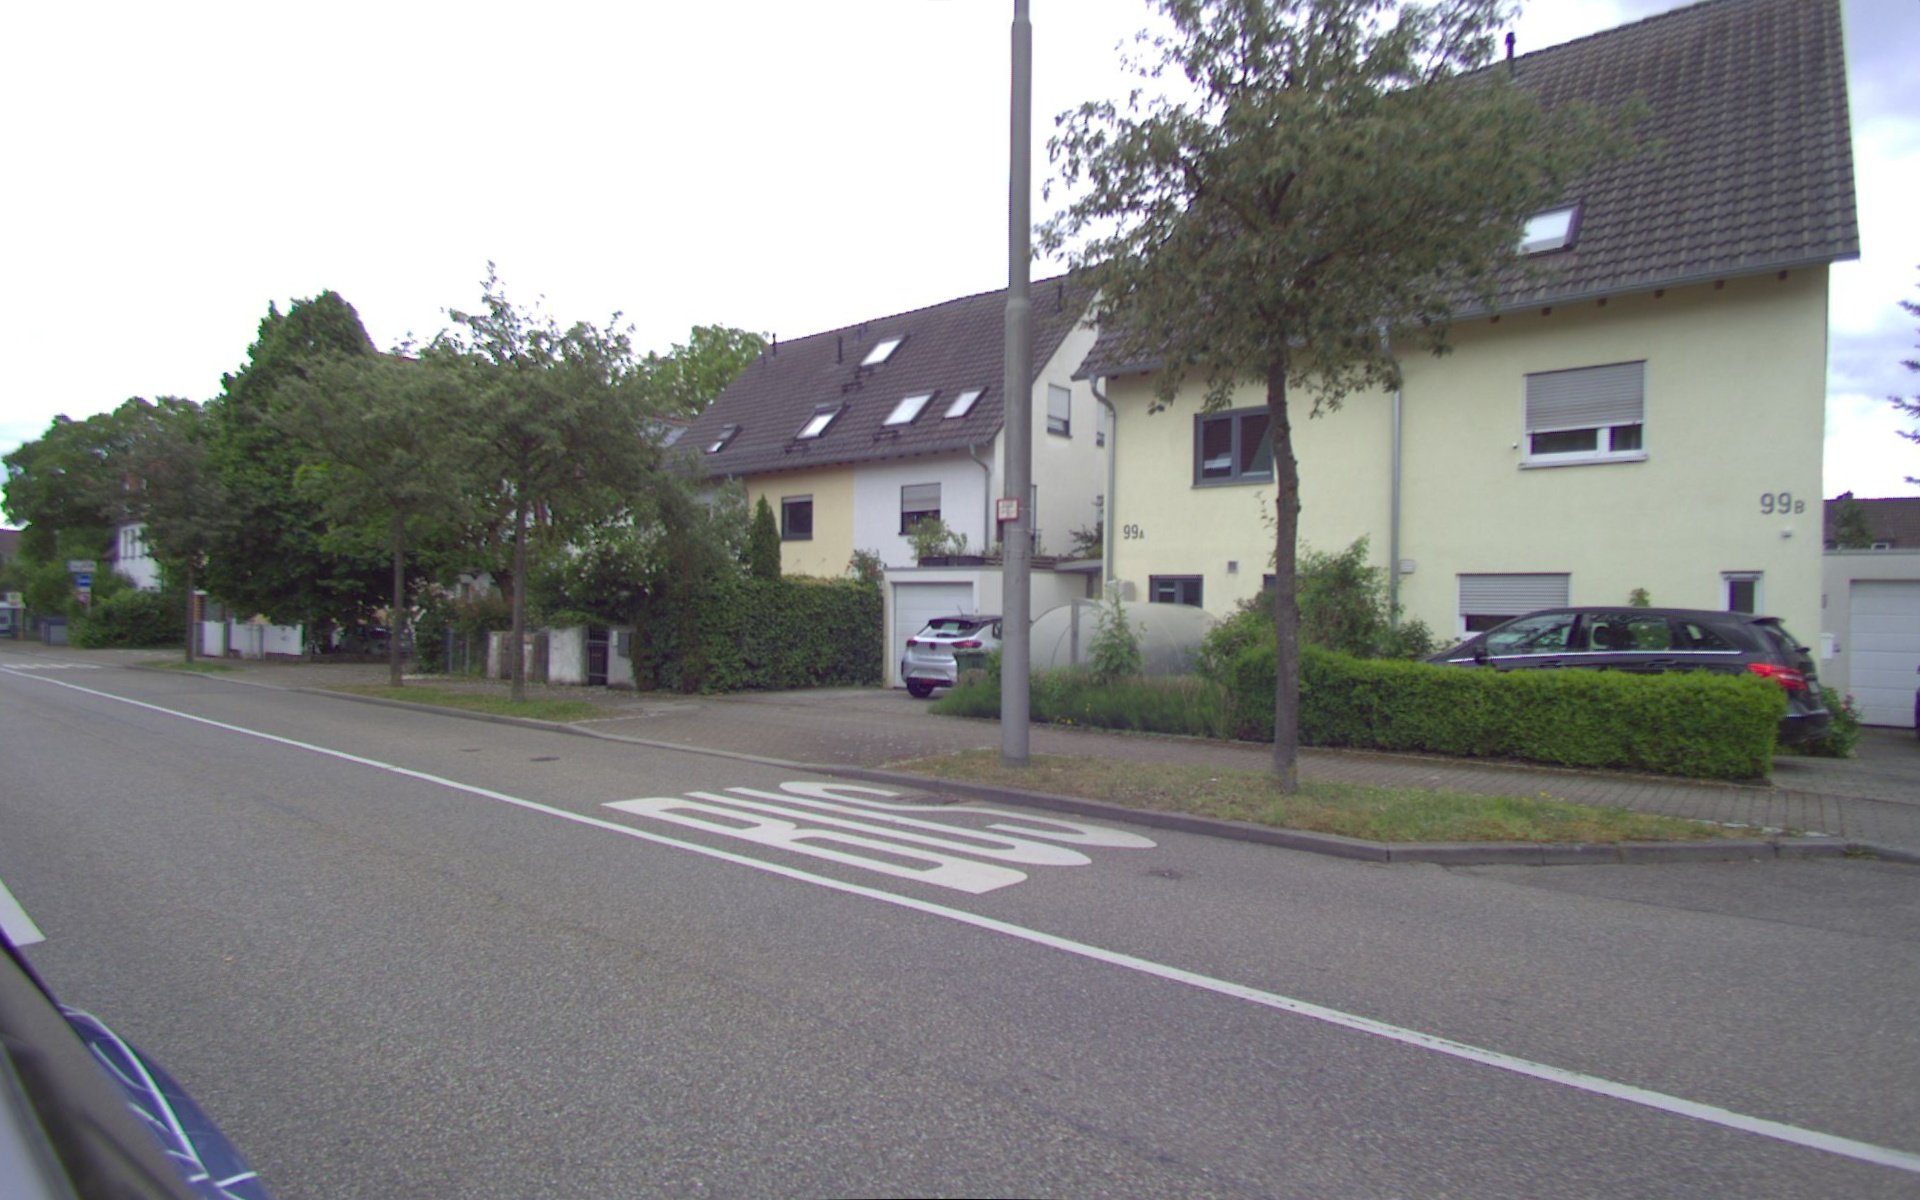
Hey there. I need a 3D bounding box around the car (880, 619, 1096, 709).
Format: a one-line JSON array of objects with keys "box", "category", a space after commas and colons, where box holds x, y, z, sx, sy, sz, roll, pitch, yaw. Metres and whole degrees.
[{"box": [0.603, 1.048, 17.986, 1.754, 1.296, 4.026, -1, 0, 39], "category": "car"}]

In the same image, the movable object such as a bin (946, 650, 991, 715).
[{"box": [0.118, 1.202, 14.798, 0.569, 0.908, 0.547, 0, -1, -8], "category": "movable object such as a bin"}]

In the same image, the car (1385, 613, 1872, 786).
[{"box": [6.825, 0.919, 10.577, 4.000, 1.428, 1.856, 0, -4, 43], "category": "car"}]

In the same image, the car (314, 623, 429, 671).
[{"box": [-20.675, 1.662, 35.500, 4.610, 1.576, 1.789, -2, -4, 37], "category": "car"}]
